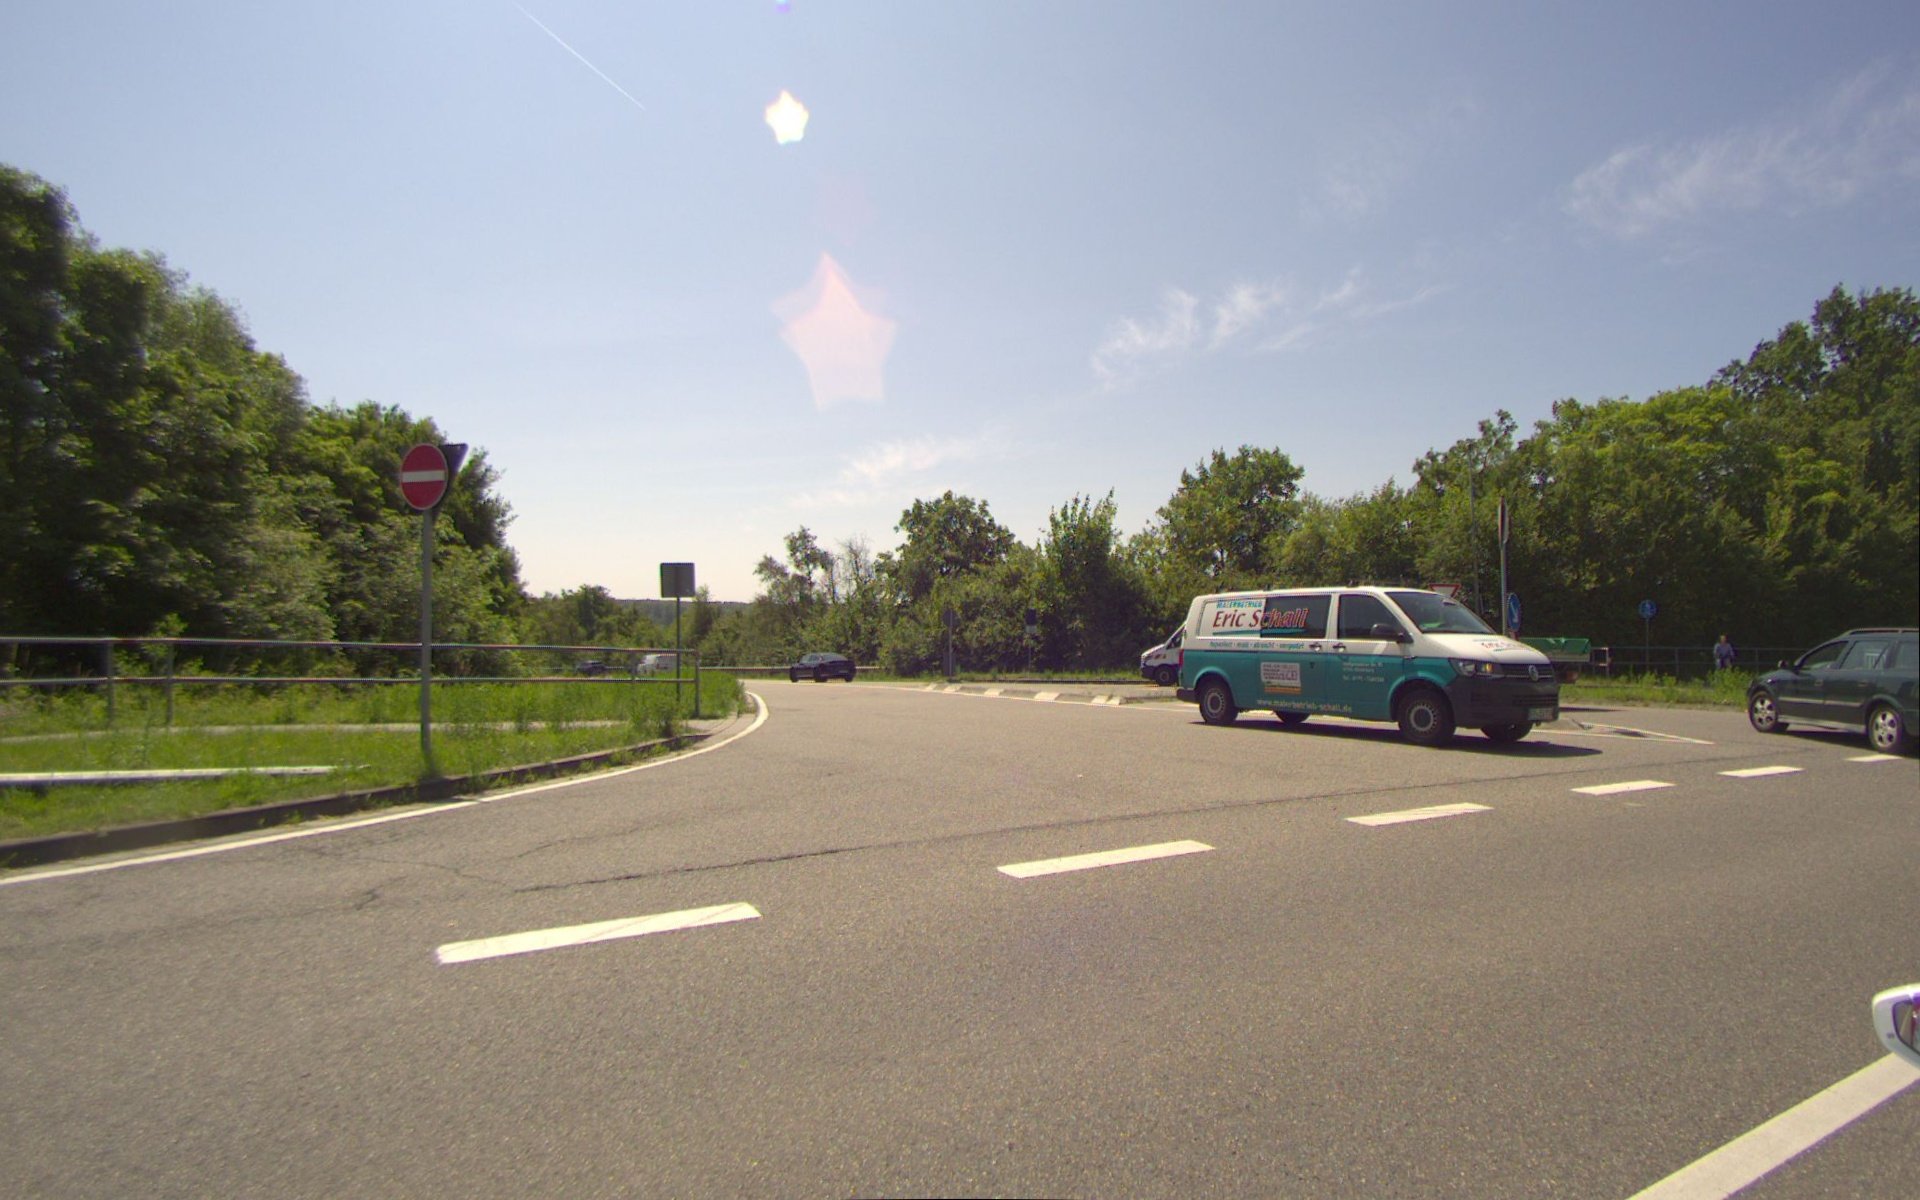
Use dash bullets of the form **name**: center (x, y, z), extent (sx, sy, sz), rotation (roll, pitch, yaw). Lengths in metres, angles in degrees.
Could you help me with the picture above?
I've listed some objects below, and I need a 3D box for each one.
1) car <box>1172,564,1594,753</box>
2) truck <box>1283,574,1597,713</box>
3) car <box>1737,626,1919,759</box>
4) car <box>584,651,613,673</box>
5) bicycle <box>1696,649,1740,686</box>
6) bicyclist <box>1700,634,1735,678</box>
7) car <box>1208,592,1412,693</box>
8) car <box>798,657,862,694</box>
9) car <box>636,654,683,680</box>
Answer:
- **car**: center (5.382, 0.745, 13.655), extent (1.977, 2.054, 5.147), rotation (1, -3, -30)
- **truck**: center (10.216, 1.029, 22.288), extent (2.114, 2.598, 6.607), rotation (2, -4, -22)
- **car**: center (11.907, 1.089, 12.799), extent (1.691, 1.476, 3.800), rotation (1, -1, 12)
- **car**: center (-31.680, 5.408, 87.993), extent (1.750, 1.617, 3.896), rotation (1, 0, -31)
- **bicycle**: center (24.318, 2.164, 32.240), extent (0.428, 1.128, 1.483), rotation (0, -1, 6)
- **bicyclist**: center (24.311, 1.788, 32.249), extent (0.676, 1.381, 0.609), rotation (1, 0, 5)
- **car**: center (11.058, 1.282, 31.992), extent (5.893, 2.888, 2.112), rotation (1, 0, 20)
- **car**: center (-6.247, 3.607, 47.968), extent (1.657, 1.683, 3.971), rotation (1, -4, -29)
- **car**: center (-23.328, 5.223, 77.927), extent (1.996, 1.948, 5.146), rotation (1, -4, -35)
